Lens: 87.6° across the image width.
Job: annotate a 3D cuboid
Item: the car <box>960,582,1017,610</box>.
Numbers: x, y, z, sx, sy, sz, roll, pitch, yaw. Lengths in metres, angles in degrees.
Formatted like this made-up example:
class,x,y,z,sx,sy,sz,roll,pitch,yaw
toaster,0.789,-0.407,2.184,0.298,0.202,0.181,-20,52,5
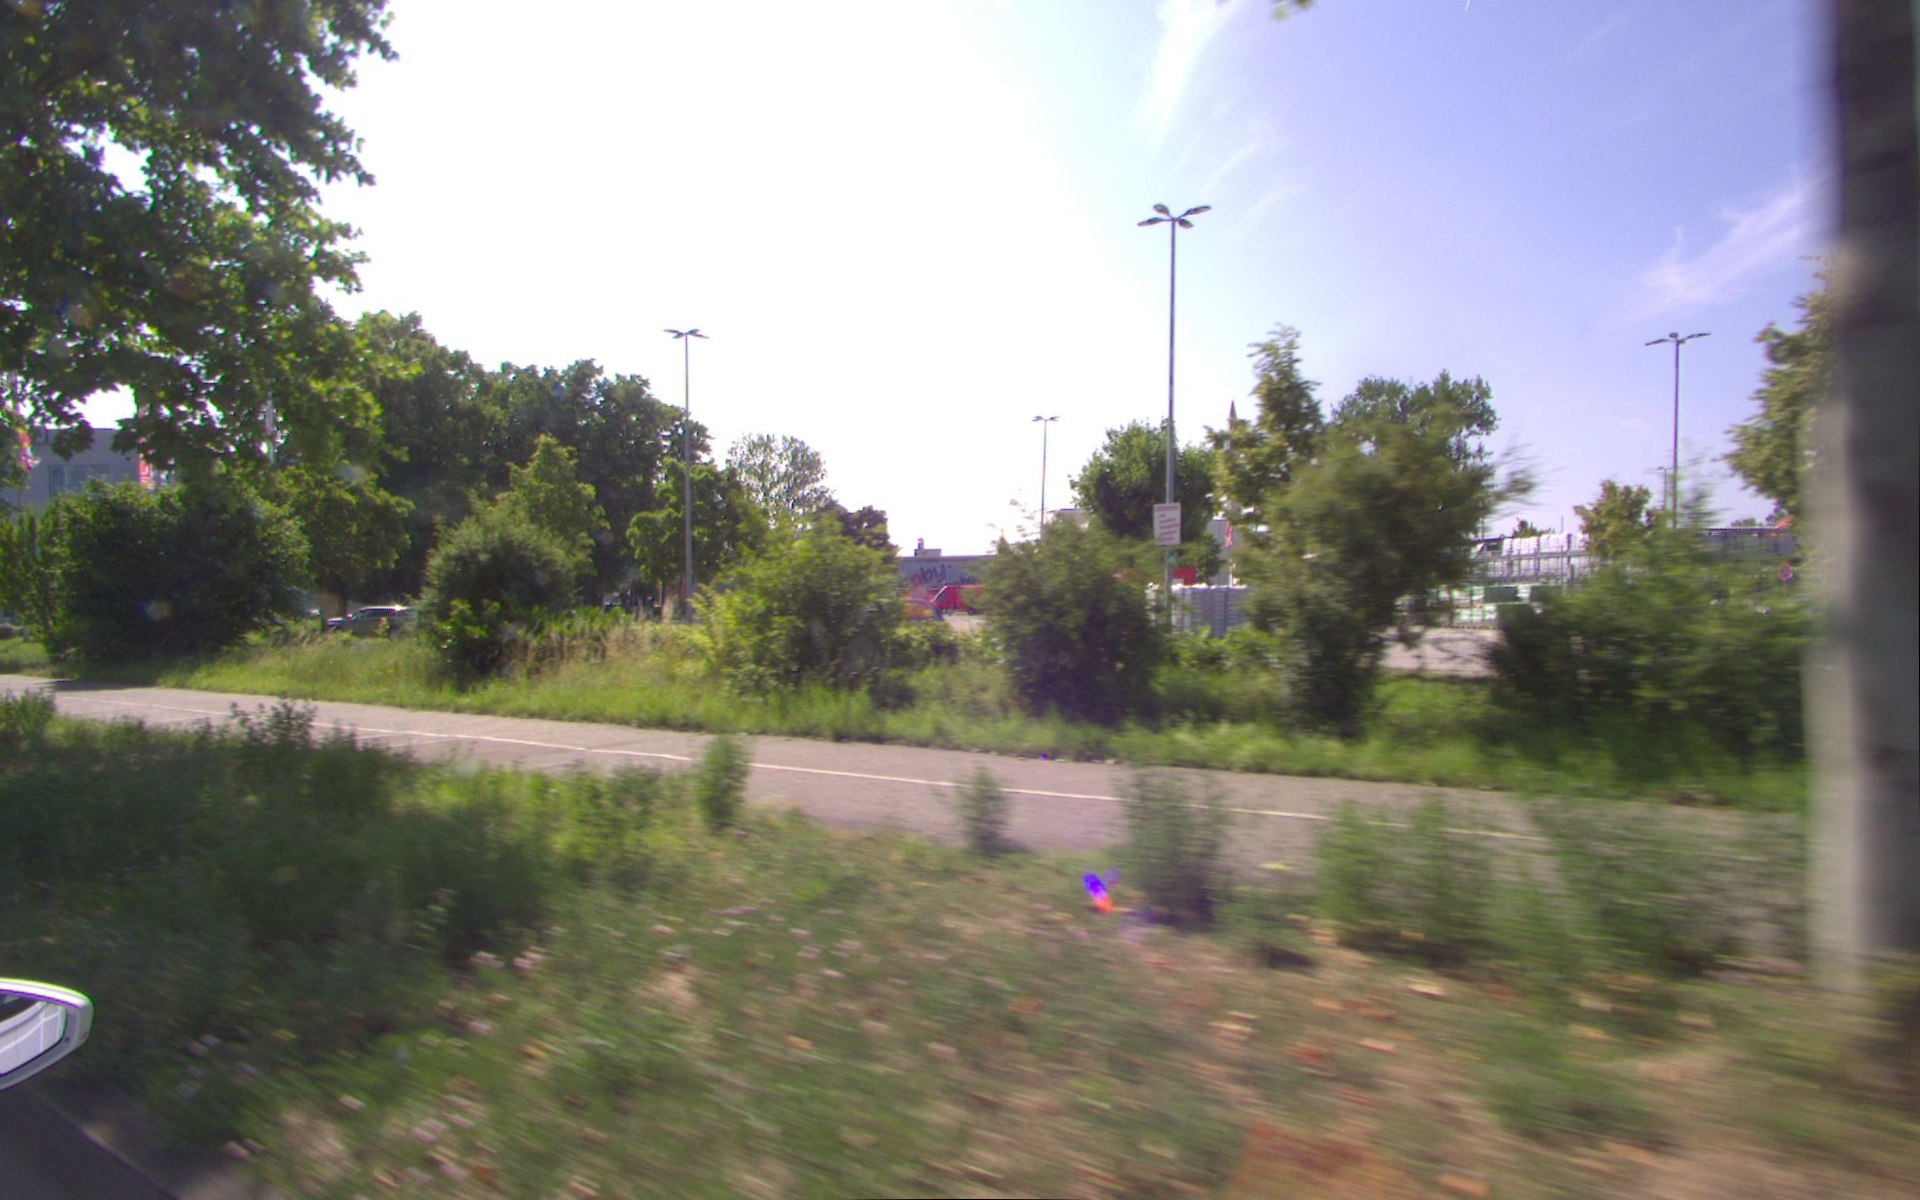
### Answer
class,x,y,z,sx,sy,sz,roll,pitch,yaw
car,2.413,-0.361,85.080,4.713,2.279,2.000,-1,0,5

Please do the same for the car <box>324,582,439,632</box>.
class,x,y,z,sx,sy,sz,roll,pitch,yaw
car,-24.448,0.291,42.462,3.725,2.040,1.998,0,0,-11

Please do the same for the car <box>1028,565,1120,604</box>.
class,x,y,z,sx,sy,sz,roll,pitch,yaw
car,7.835,-1.033,69.123,6.059,2.598,2.000,0,0,-4

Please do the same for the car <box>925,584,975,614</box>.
class,x,y,z,sx,sy,sz,roll,pitch,yaw
car,-0.908,-0.054,90.630,4.317,2.632,1.999,-1,0,-5
